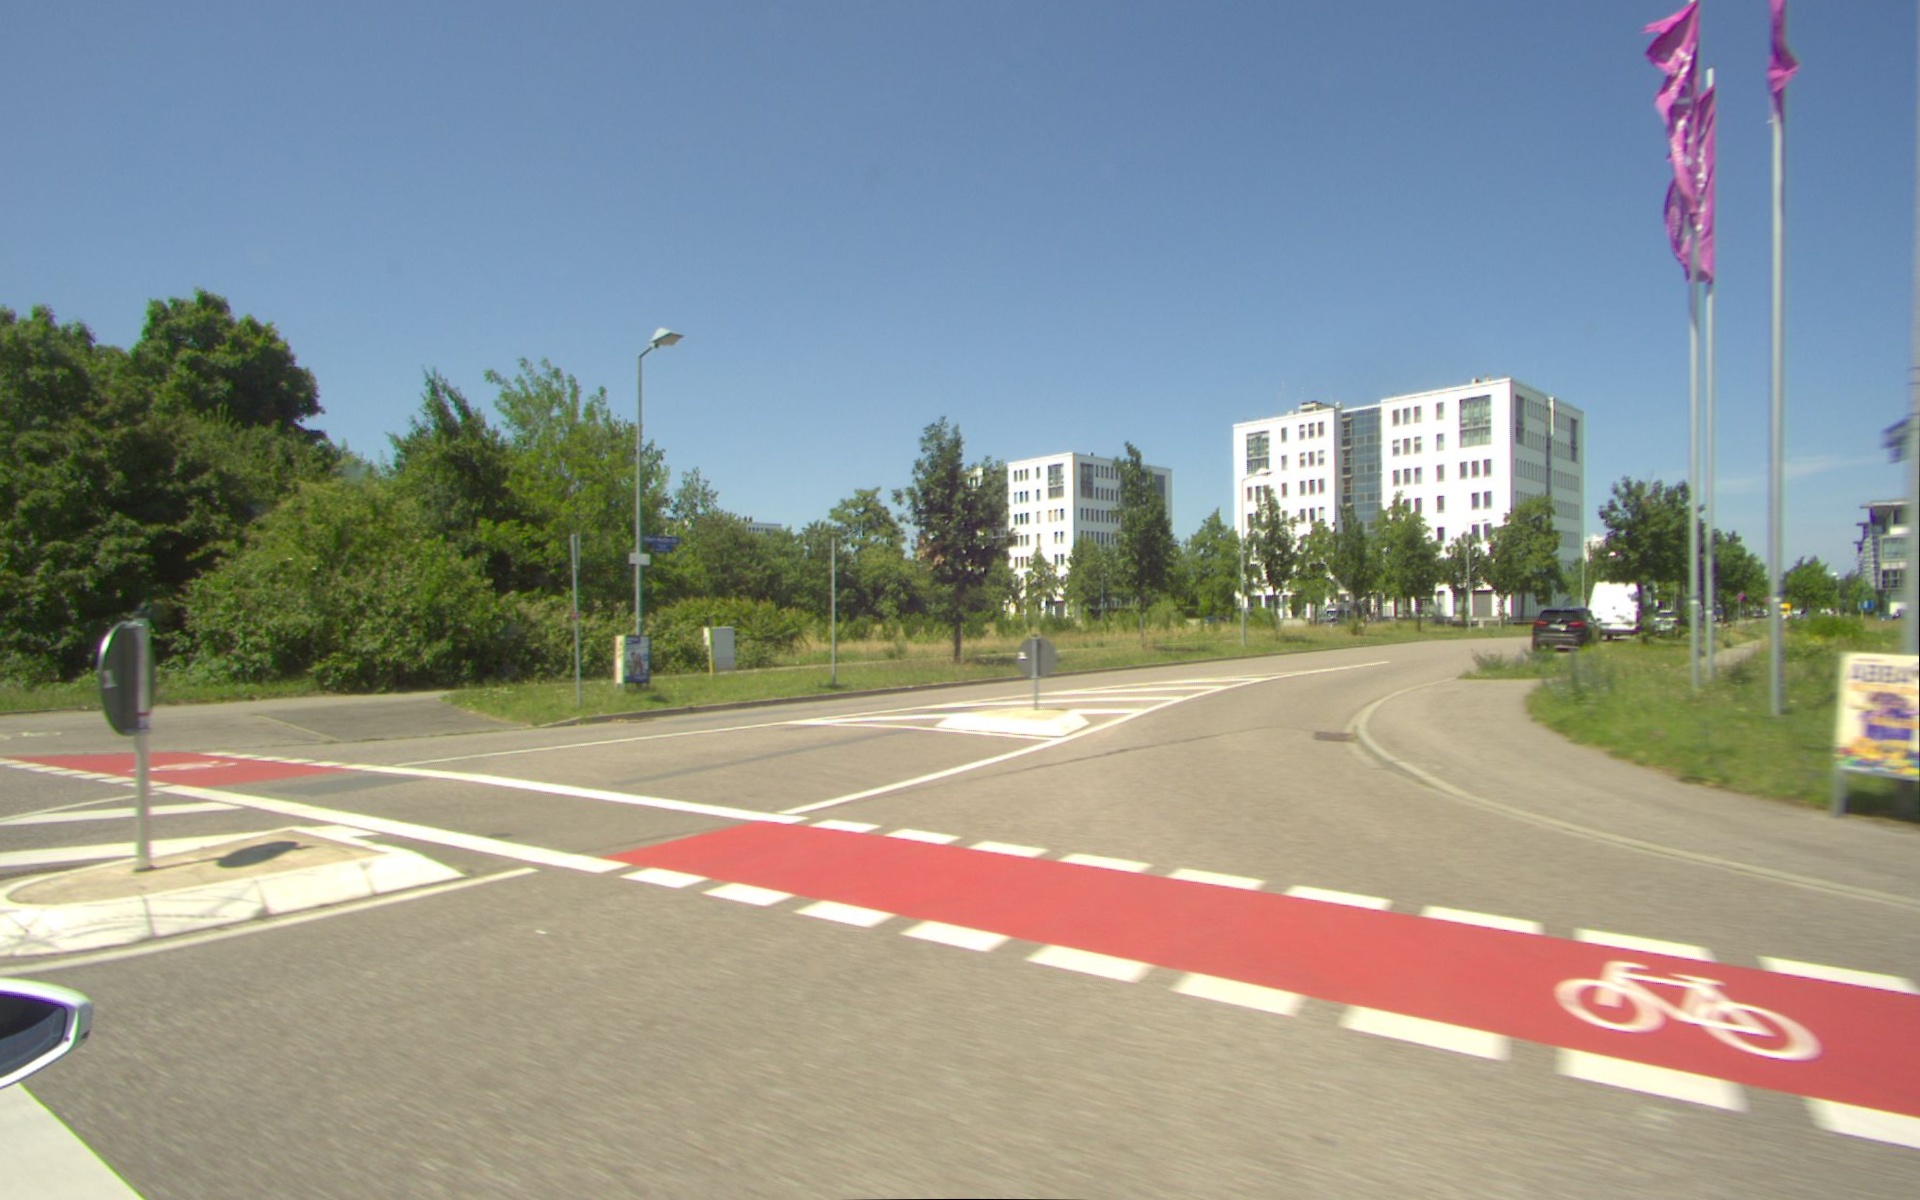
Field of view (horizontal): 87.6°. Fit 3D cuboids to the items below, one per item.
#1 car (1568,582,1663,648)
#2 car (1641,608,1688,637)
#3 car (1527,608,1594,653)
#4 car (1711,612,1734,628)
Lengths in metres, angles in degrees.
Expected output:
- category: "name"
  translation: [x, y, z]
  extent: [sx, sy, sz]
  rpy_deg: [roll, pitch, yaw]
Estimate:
- category: "car"
  translation: [30.437, 0.765, 46.386]
  extent: [2.639, 2.837, 6.796]
  rpy_deg: [-2, -3, 42]
- category: "car"
  translation: [39.577, 1.278, 56.225]
  extent: [1.688, 1.552, 3.597]
  rpy_deg: [-1, -3, 44]
- category: "car"
  translation: [21.835, 1.146, 36.368]
  extent: [1.685, 1.552, 3.604]
  rpy_deg: [-1, -3, 38]
- category: "car"
  translation: [88.225, 2.311, 115.862]
  extent: [1.687, 1.553, 3.597]
  rpy_deg: [6, 2, 44]
